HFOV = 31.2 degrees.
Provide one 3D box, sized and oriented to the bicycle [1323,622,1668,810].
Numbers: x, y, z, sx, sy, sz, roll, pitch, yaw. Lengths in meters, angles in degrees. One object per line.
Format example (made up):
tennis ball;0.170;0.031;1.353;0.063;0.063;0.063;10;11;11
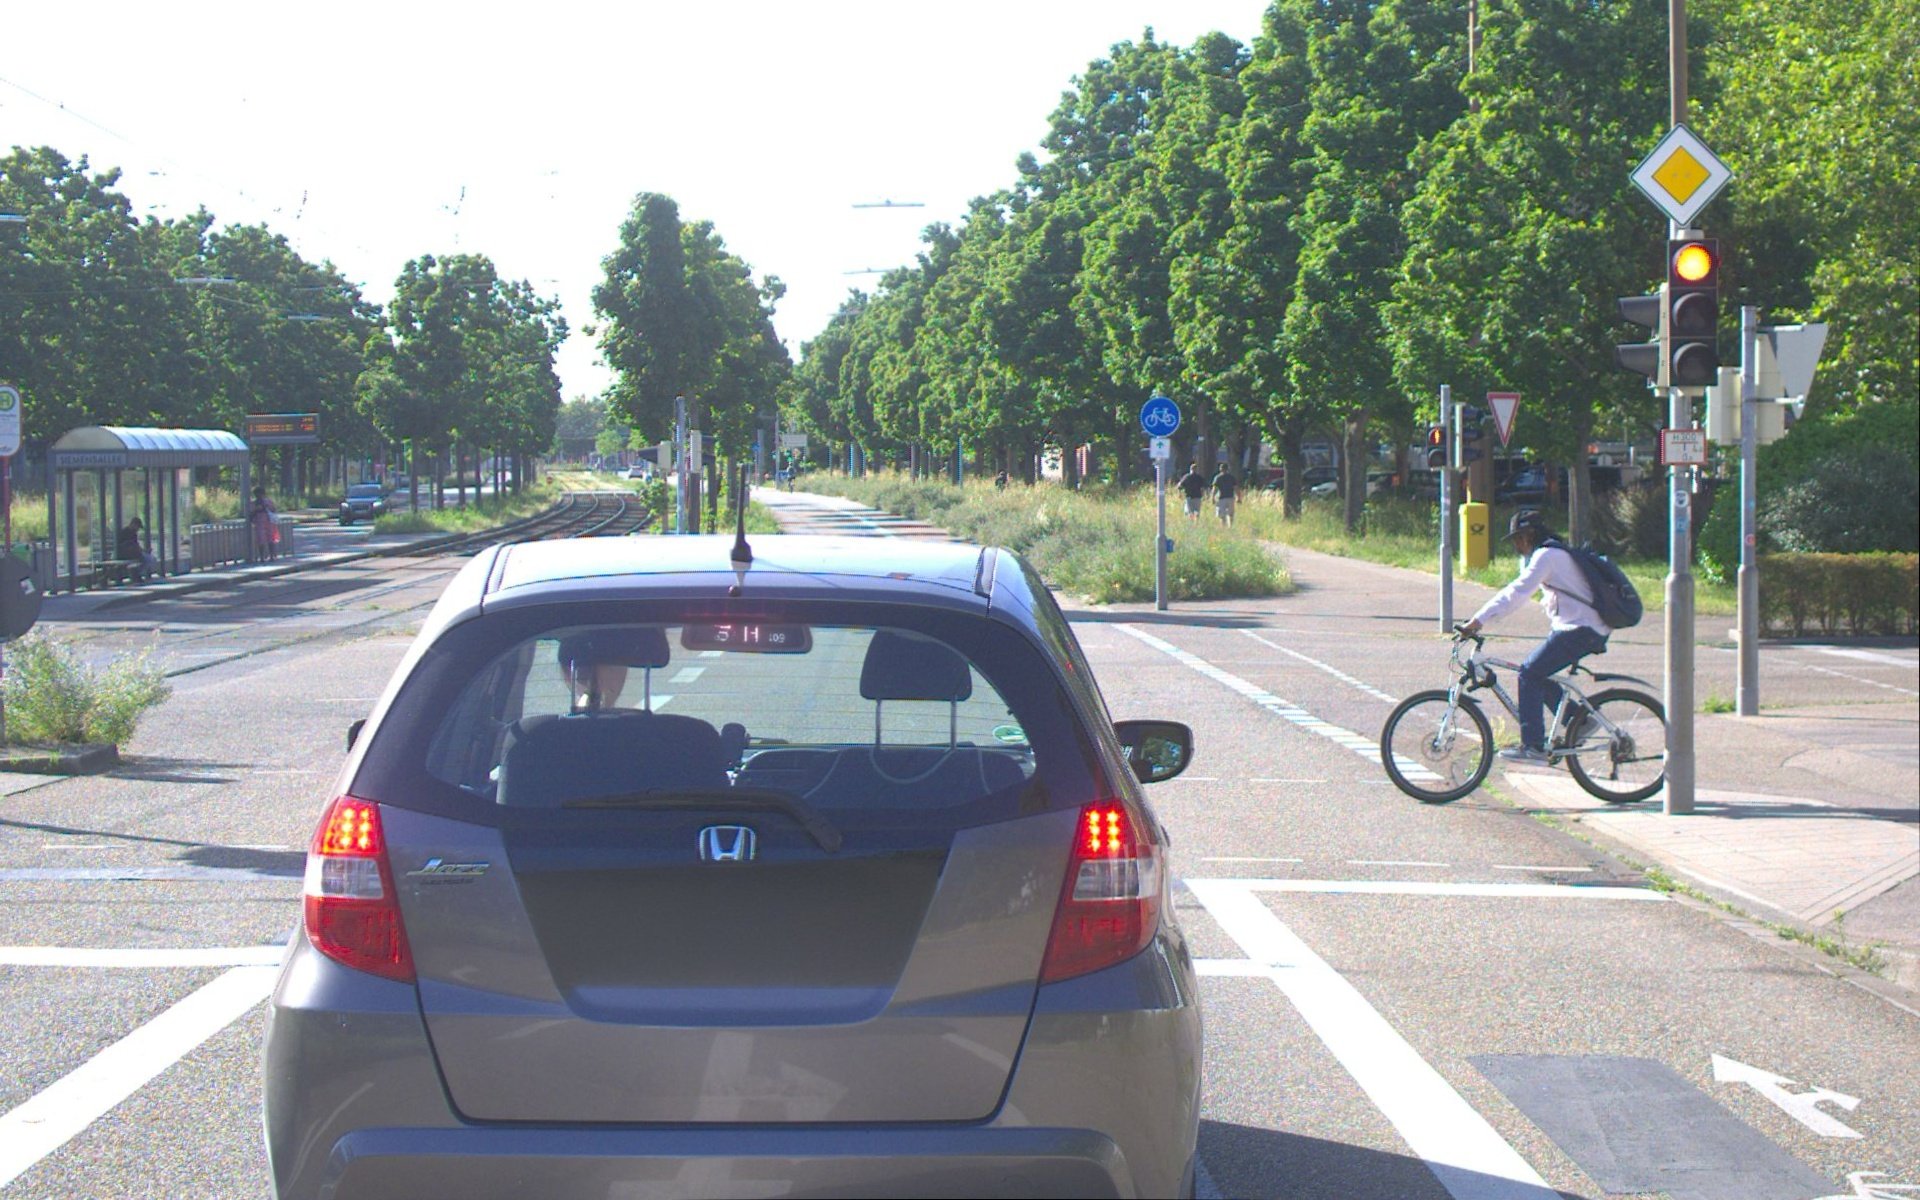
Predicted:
bicycle;3.118;0.661;20.017;1.921;0.994;0.764;1;1;10

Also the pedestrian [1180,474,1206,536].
pedestrian;6.016;-2.459;88.798;0.567;1.591;0.666;1;1;-4

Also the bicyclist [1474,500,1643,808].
bicyclist;3.474;0.304;19.957;0.910;1.739;0.764;-1;1;10

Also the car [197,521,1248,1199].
car;-0.391;0.592;7.619;1.707;1.503;4.000;1;1;0

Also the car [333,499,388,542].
car;-24.675;-3.255;141.565;1.766;1.732;4.001;0;1;-3

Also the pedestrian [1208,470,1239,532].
pedestrian;6.805;-2.555;88.867;0.678;1.604;0.721;1;1;-3

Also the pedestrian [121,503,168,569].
pedestrian;-15.571;-1.232;65.631;0.721;1.241;0.711;-1;1;-2
